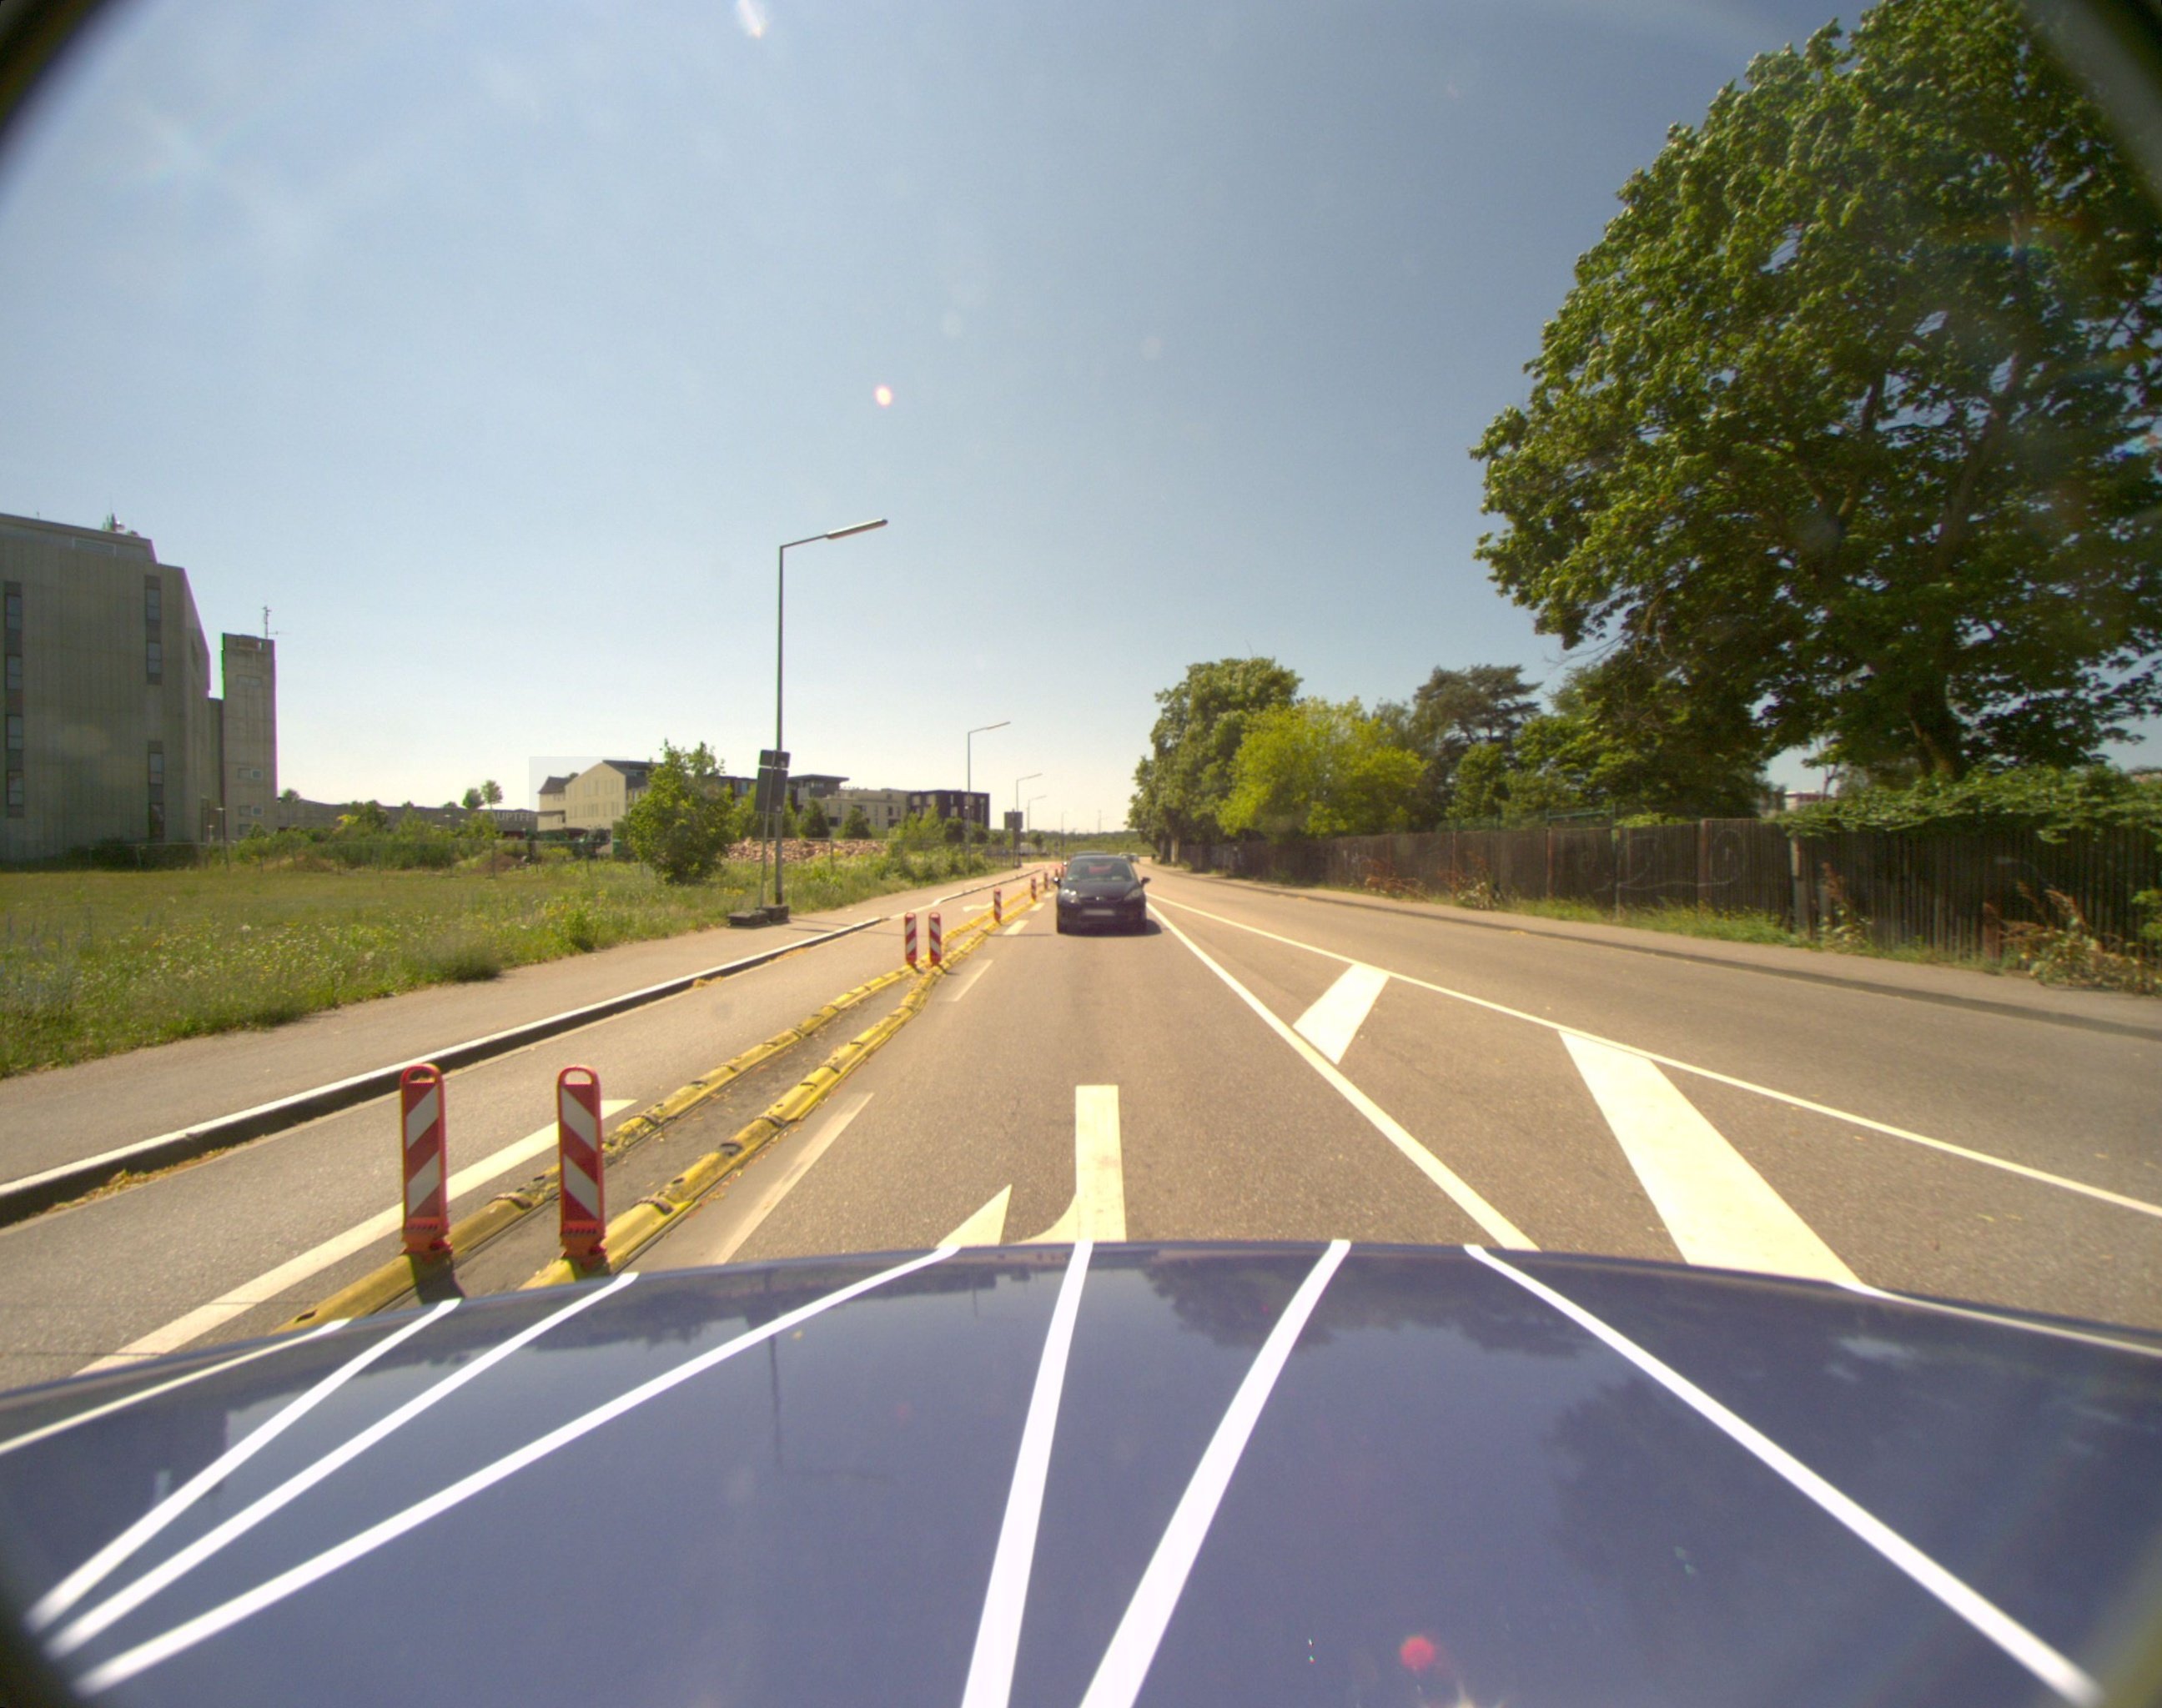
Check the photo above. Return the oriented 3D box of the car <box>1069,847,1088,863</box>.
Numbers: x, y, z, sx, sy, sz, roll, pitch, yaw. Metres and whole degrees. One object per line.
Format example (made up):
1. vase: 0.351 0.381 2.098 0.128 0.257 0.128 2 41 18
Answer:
1. car: -0.271 0.100 74.271 1.759 1.536 3.693 0 0 -1

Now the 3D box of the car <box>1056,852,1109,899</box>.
1. car: 0.121 0.707 26.939 1.720 1.518 4.212 0 0 2

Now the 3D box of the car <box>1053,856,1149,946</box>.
1. car: 0.393 0.807 14.838 1.632 1.499 3.819 0 0 2

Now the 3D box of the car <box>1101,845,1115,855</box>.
1. car: 3.856 -0.587 109.822 1.759 1.536 3.693 0 0 -1

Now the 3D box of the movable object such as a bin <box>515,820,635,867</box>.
1. movable object such as a bin: -36.732 -0.809 55.590 2.810 3.131 7.609 -1 1 9

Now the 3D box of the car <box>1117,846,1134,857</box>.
1. car: 6.012 -0.339 102.233 1.719 1.455 3.841 1 0 -4
